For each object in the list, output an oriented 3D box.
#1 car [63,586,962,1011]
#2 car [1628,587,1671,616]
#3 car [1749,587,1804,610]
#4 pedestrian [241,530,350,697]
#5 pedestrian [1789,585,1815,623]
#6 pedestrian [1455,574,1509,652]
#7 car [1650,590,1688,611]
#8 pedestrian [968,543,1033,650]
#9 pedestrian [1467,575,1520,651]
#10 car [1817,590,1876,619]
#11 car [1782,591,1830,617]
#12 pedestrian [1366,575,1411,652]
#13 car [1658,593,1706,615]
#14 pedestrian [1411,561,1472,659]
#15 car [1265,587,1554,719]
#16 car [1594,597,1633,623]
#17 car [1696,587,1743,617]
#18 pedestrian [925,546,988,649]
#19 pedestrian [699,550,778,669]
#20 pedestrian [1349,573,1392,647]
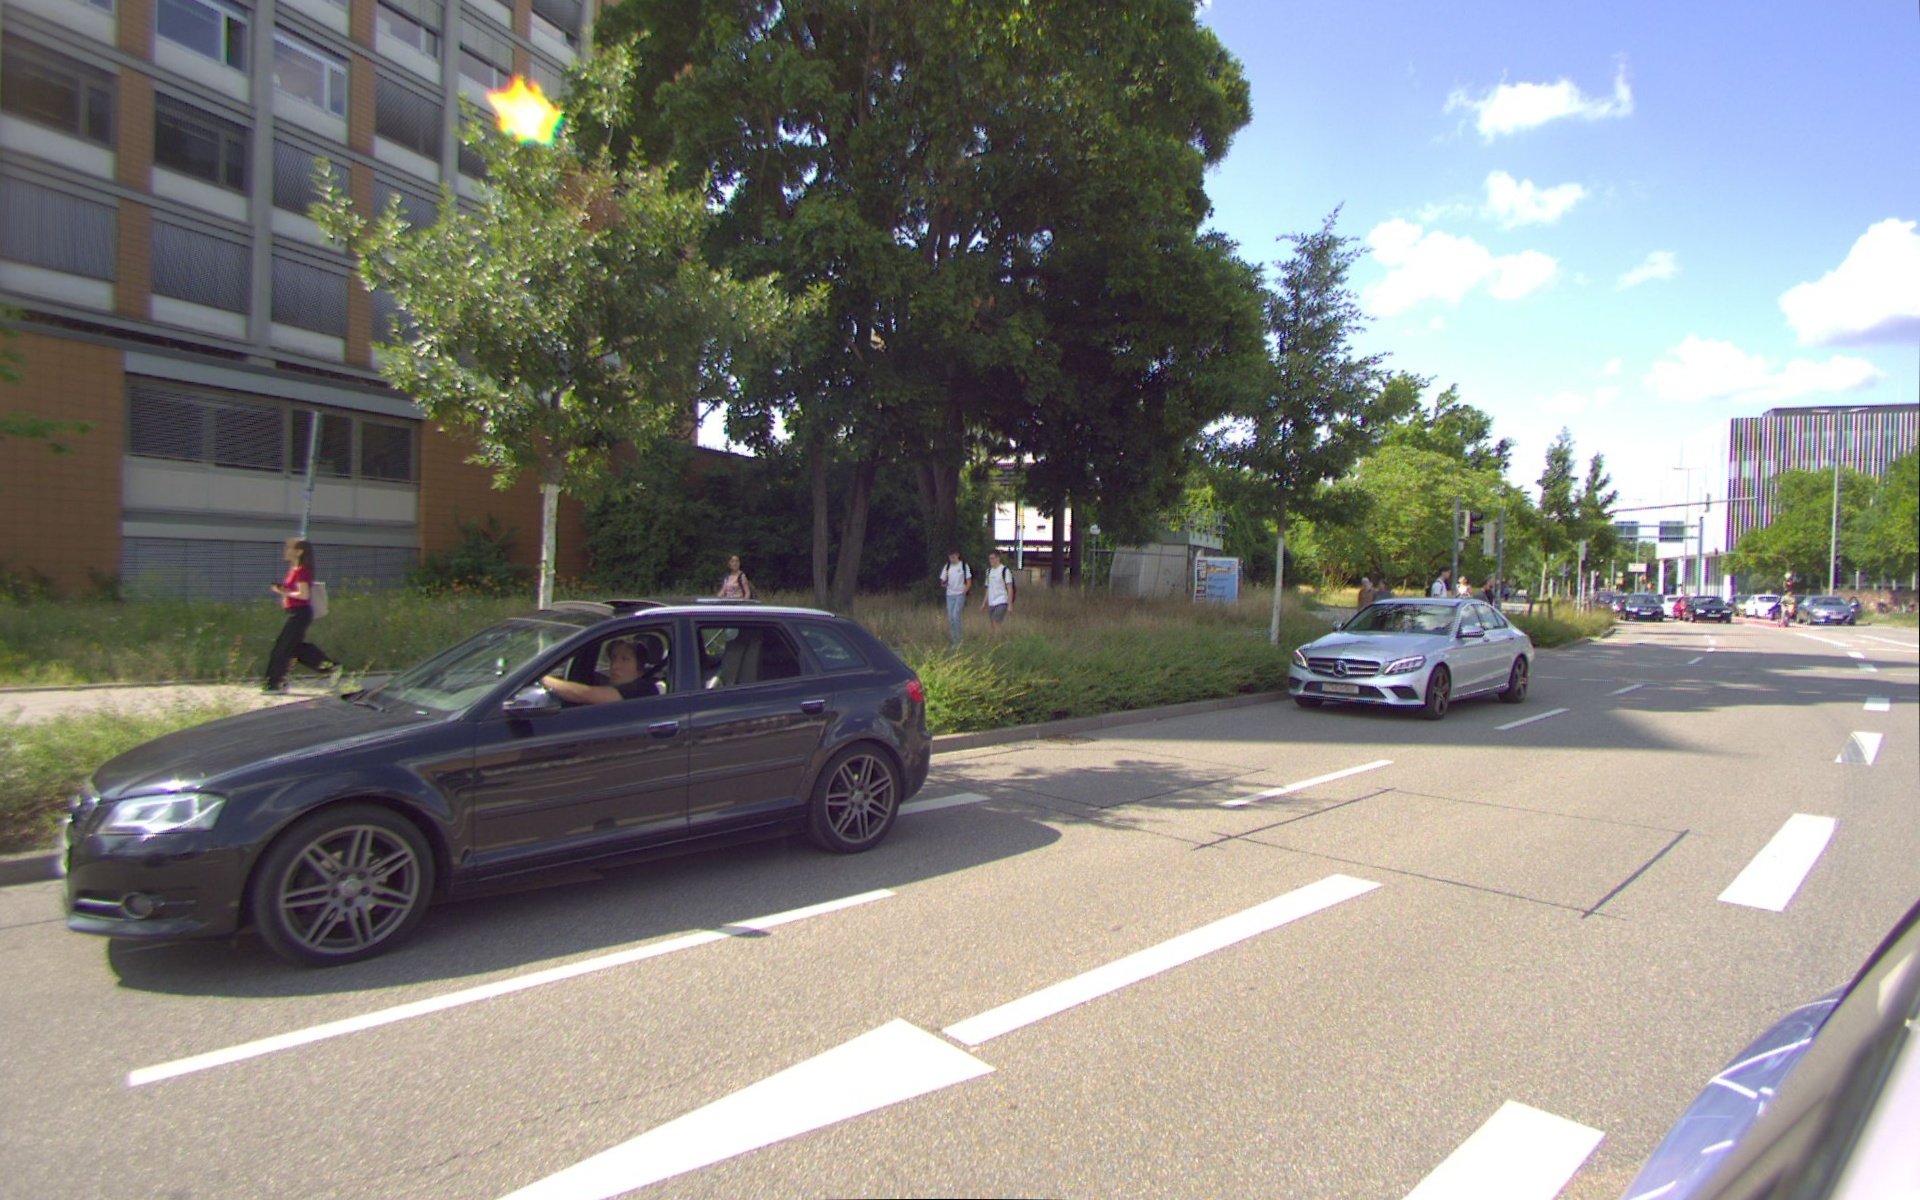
[{"bbox_3d":[-2.054,0.645,5.393,4.063,1.389,1.701,0,2,-43],"label":"car"},{"bbox_3d":[36.775,0.070,53.925,1.815,1.481,3.949,1,1,35],"label":"car"},{"bbox_3d":[50.469,-0.106,62.630,1.761,1.371,3.966,0,1,25],"label":"car"},{"bbox_3d":[-6.888,0.117,10.489,0.874,1.642,0.615,0,4,-41],"label":"pedestrian"},{"bbox_3d":[39.403,0.172,47.372,0.731,1.736,0.868,0,0,27],"label":"pedestrian"},{"bbox_3d":[12.099,0.293,23.456,0.755,1.757,0.926,0,0,-43],"label":"pedestrian"},{"bbox_3d":[44.727,-0.015,63.838,1.898,1.148,4.052,1,3,35],"label":"car"},{"bbox_3d":[0.685,-0.073,17.039,0.614,1.720,0.876,5,4,44],"label":"pedestrian"},{"bbox_3d":[12.645,0.299,23.992,0.755,1.757,0.926,0,0,-43],"label":"pedestrian"},{"bbox_3d":[43.765,0.194,50.041,1.990,1.393,4.210,1,1,39],"label":"car"},{"bbox_3d":[47.059,0.200,56.354,1.722,1.351,3.742,0,1,35],"label":"car"},{"bbox_3d":[9.997,0.314,23.611,0.765,1.757,0.708,0,0,41],"label":"pedestrian"},{"bbox_3d":[41.417,0.195,58.112,1.582,1.148,3.597,1,1,25],"label":"car"},{"bbox_3d":[10.303,0.194,21.651,0.755,2.039,0.963,0,0,-43],"label":"pedestrian"},{"bbox_3d":[6.193,0.568,13.638,4.680,1.473,1.932,0,1,-44],"label":"car"},{"bbox_3d":[39.212,0.568,60.727,1.815,1.481,3.950,1,1,35],"label":"car"},{"bbox_3d":[39.833,0.079,53.134,1.815,1.481,3.949,1,1,35],"label":"car"},{"bbox_3d":[-0.058,-0.068,17.632,0.614,1.720,0.876,5,4,44],"label":"pedestrian"},{"bbox_3d":[-3.191,0.115,14.576,0.614,1.642,0.876,5,4,44],"label":"pedestrian"},{"bbox_3d":[9.907,0.235,24.426,0.765,1.757,0.708,0,0,41],"label":"pedestrian"}]
